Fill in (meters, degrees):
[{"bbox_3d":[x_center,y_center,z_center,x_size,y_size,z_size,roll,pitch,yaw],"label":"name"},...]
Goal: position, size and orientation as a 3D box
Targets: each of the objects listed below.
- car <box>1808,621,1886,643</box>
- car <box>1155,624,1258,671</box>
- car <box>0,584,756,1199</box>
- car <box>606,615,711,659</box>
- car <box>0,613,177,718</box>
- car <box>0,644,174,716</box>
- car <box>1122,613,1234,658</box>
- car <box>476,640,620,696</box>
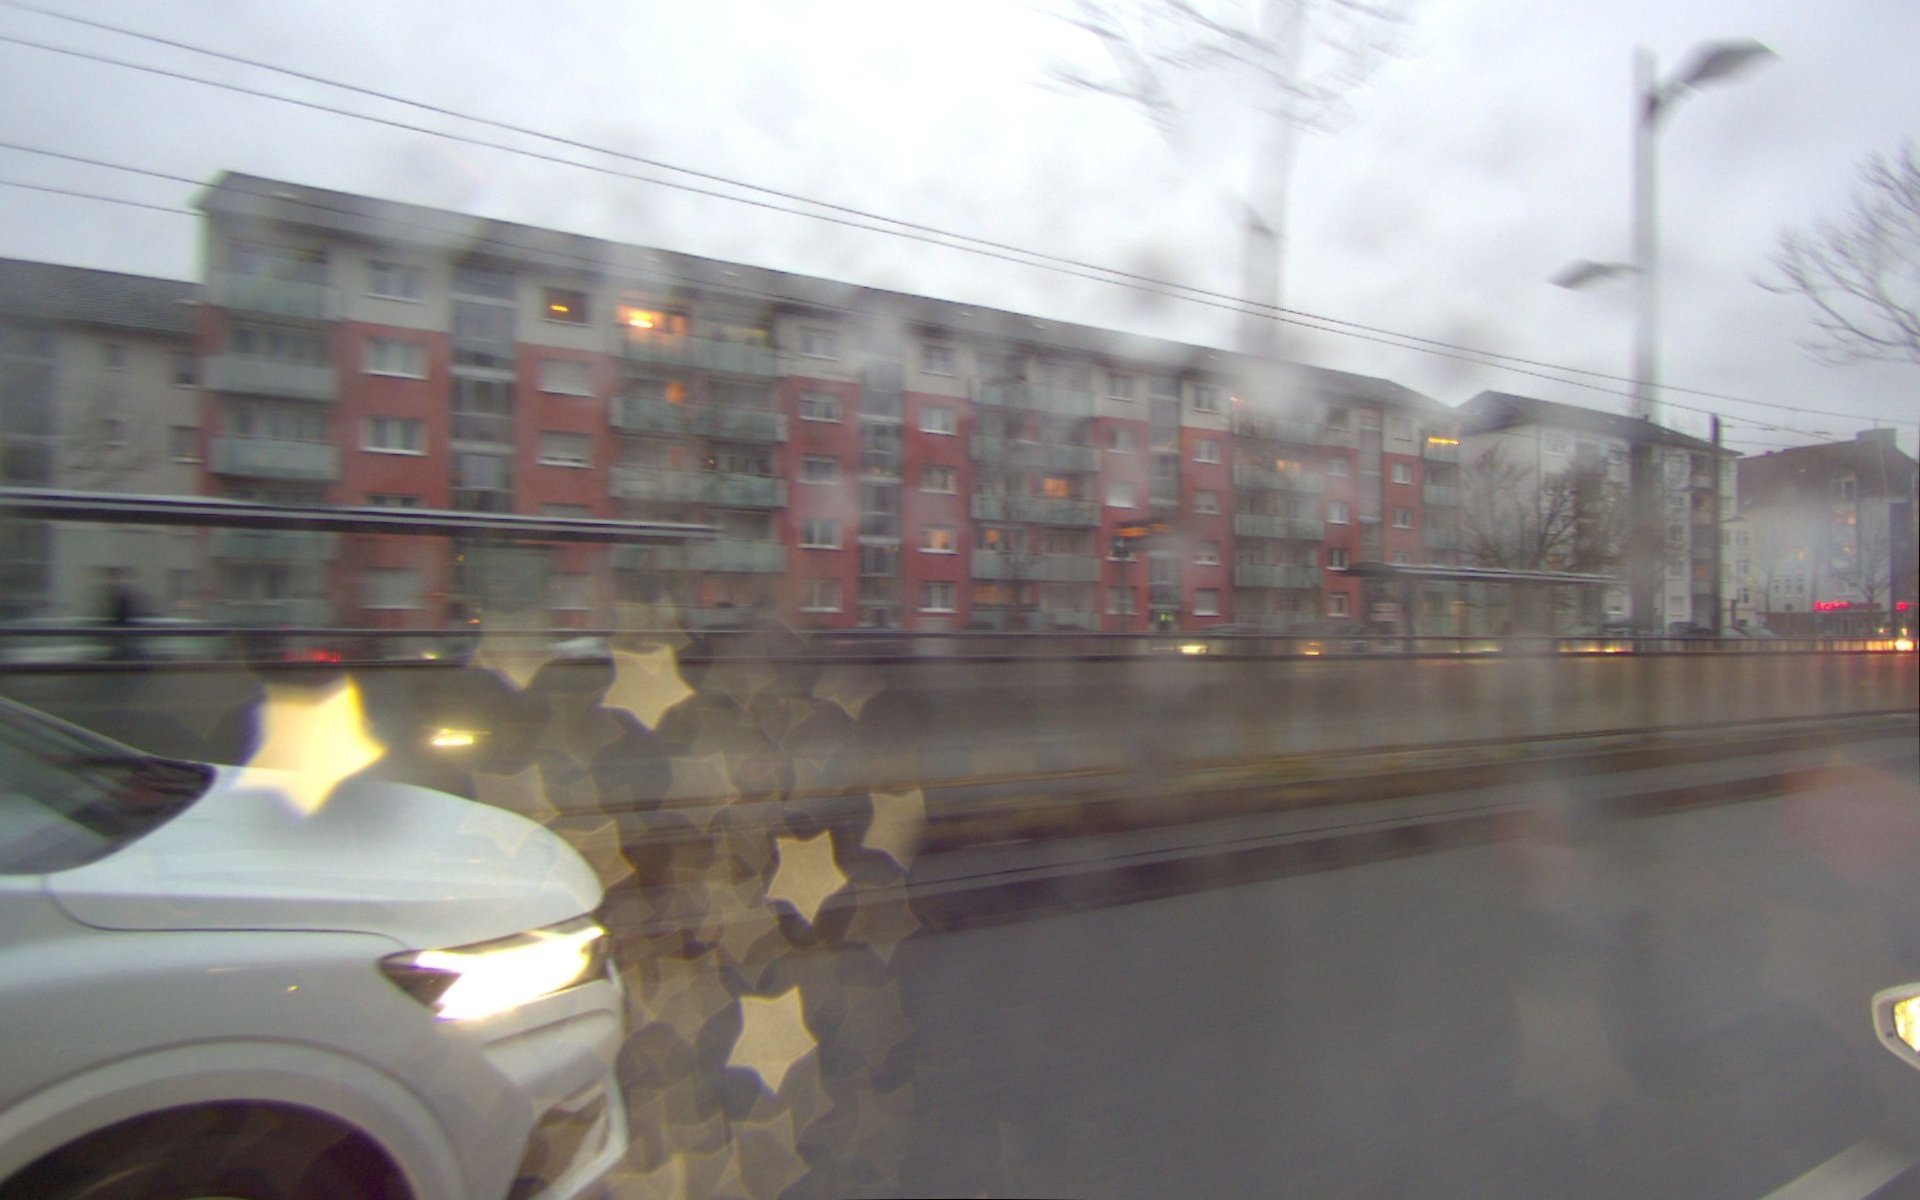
[{"bbox_3d":[62.258,2.260,70.575,1.680,1.384,3.776,2,0,-33],"label":"car"},{"bbox_3d":[8.120,1.578,33.065,3.281,1.443,1.327,2,0,-31],"label":"car"},{"bbox_3d":[-2.557,0.693,1.757,3.955,1.485,1.699,2,0,-32],"label":"car"},{"bbox_3d":[-11.199,1.367,37.332,3.456,1.516,1.705,2,0,-27],"label":"car"},{"bbox_3d":[-15.614,1.067,16.821,3.706,1.661,1.515,2,-1,-31],"label":"car"},{"bbox_3d":[-13.087,1.140,14.582,2.462,0.950,1.139,2,-1,-30],"label":"car"},{"bbox_3d":[8.388,1.373,38.612,4.101,1.564,1.717,2,0,-30],"label":"car"},{"bbox_3d":[-9.009,1.479,22.018,2.816,1.115,1.258,2,0,-26],"label":"car"}]
